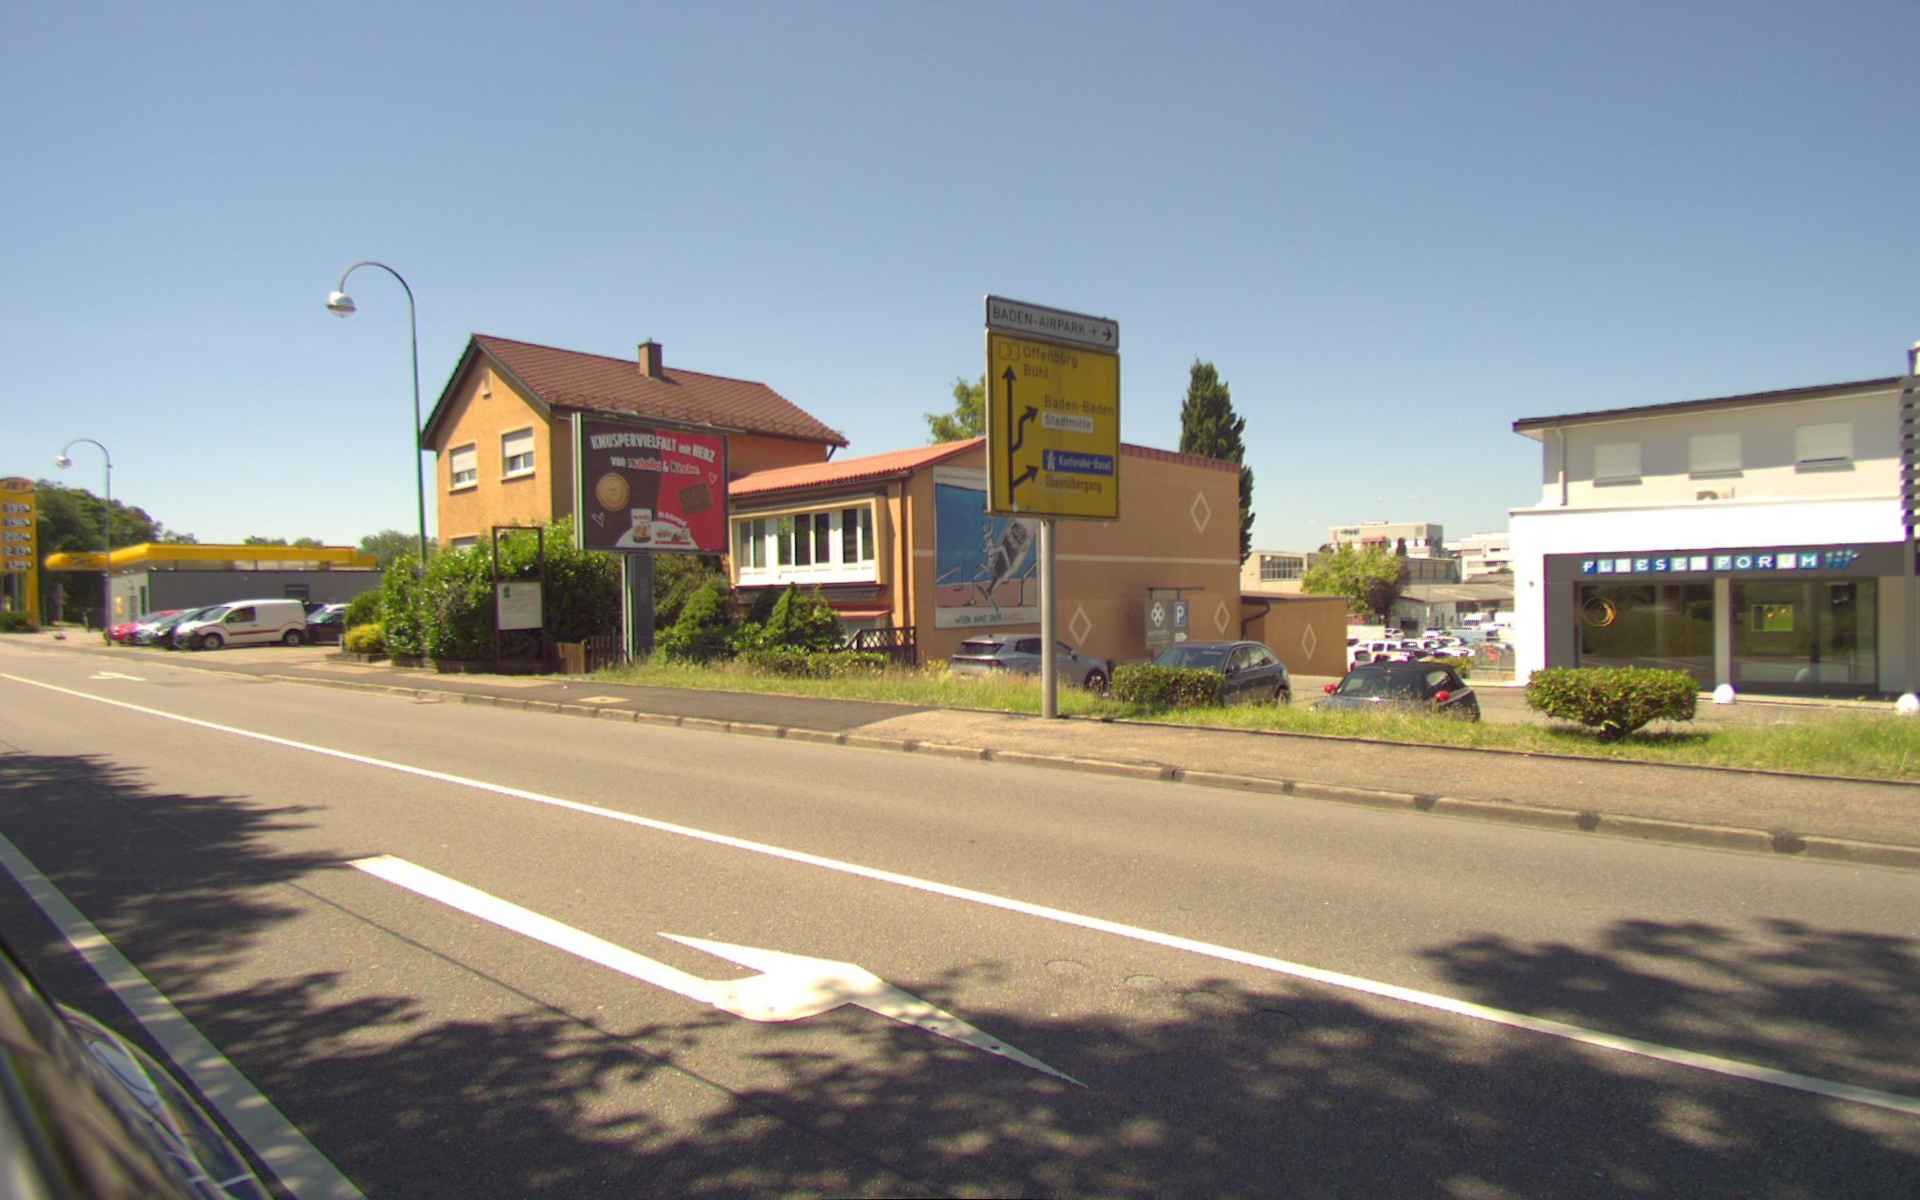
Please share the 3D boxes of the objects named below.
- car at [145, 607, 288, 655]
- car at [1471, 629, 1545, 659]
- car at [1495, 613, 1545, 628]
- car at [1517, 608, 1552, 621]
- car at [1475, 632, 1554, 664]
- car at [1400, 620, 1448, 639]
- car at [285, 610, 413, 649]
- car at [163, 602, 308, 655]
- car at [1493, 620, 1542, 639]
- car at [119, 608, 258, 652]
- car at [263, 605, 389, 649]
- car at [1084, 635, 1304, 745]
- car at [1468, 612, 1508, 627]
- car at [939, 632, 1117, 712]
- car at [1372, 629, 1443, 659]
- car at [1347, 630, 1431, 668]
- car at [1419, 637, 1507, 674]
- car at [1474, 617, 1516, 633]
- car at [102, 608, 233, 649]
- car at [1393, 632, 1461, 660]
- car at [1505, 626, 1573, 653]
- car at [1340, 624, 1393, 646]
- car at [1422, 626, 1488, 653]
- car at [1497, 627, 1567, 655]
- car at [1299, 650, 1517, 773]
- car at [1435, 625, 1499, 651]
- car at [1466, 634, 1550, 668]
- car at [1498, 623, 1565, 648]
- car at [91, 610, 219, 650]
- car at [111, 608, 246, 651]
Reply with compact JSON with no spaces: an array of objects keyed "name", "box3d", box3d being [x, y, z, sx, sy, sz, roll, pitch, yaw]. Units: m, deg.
[{"name":"car","box3d":[-29.268,1.176,39.948,1.871,1.773,4.198,-1,-1,35]},{"name":"car","box3d":[34.640,2.752,64.035,3.774,1.768,1.707,-1,-1,44]},{"name":"car","box3d":[71.714,2.622,129.585,5.303,1.768,2.037,-1,-1,44]},{"name":"car","box3d":[77.156,1.950,135.884,3.774,1.768,1.707,-1,-1,44]},{"name":"car","box3d":[32.659,2.778,59.627,3.774,1.768,1.707,-1,-1,44]},{"name":"car","box3d":[44.699,2.786,97.512,3.774,1.768,1.707,-1,0,44]},{"name":"car","box3d":[-26.181,1.243,43.520,1.871,1.575,4.351,-1,-1,35]},{"name":"car","box3d":[-27.610,1.050,38.690,1.871,1.883,4.143,-1,-1,35]},{"name":"car","box3d":[53.064,2.796,96.325,3.774,1.768,1.707,-1,0,44]},{"name":"car","box3d":[-32.656,1.242,42.973,1.871,1.773,4.351,-1,-1,35]},{"name":"car","box3d":[-28.004,1.154,44.801,1.871,1.839,4.351,0,0,35]},{"name":"car","box3d":[4.374,1.533,18.519,4.462,1.654,1.772,0,-1,-44]},{"name":"car","box3d":[61.520,2.282,117.892,3.774,1.768,1.707,-1,-2,44]},{"name":"car","box3d":[1.655,1.608,23.670,4.165,1.621,1.773,0,-1,-42]},{"name":"car","box3d":[28.297,2.743,64.048,3.774,1.768,1.707,-1,-1,44]},{"name":"car","box3d":[24.590,2.748,58.053,4.001,2.029,1.971,-1,-1,44]},{"name":"car","box3d":[26.233,2.866,52.822,3.774,1.768,1.707,-1,-1,44]},{"name":"car","box3d":[58.933,2.726,111.496,3.775,1.768,1.706,-2,-2,45]},{"name":"car","box3d":[-35.991,1.259,46.068,1.871,1.773,4.351,-1,-1,35]},{"name":"car","box3d":[31.108,3.023,67.429,3.774,1.768,1.707,-1,-1,44]},{"name":"car","box3d":[39.815,2.680,69.610,3.774,1.768,1.707,-1,-1,44]},{"name":"car","box3d":[33.960,2.935,84.560,3.774,1.768,1.707,-1,-1,44]},{"name":"car","box3d":[34.542,2.744,70.676,3.774,1.768,1.707,-1,-1,44]},{"name":"car","box3d":[38.204,2.701,67.691,3.774,1.768,1.707,-1,-1,44]},{"name":"car","box3d":[7.212,1.652,16.110,4.039,1.544,1.772,0,-1,-44]},{"name":"car","box3d":[36.504,2.721,72.923,3.774,1.768,1.707,-1,-1,44]},{"name":"car","box3d":[30.370,2.787,56.092,3.774,1.768,1.707,-1,-1,44]},{"name":"car","box3d":[42.678,2.636,75.668,4.055,1.768,1.707,-1,-1,44]},{"name":"car","box3d":[-37.714,1.360,47.516,1.871,1.773,4.351,-1,-1,35]},{"name":"car","box3d":[-34.278,1.256,44.483,1.871,1.773,4.351,-1,-1,35]}]
